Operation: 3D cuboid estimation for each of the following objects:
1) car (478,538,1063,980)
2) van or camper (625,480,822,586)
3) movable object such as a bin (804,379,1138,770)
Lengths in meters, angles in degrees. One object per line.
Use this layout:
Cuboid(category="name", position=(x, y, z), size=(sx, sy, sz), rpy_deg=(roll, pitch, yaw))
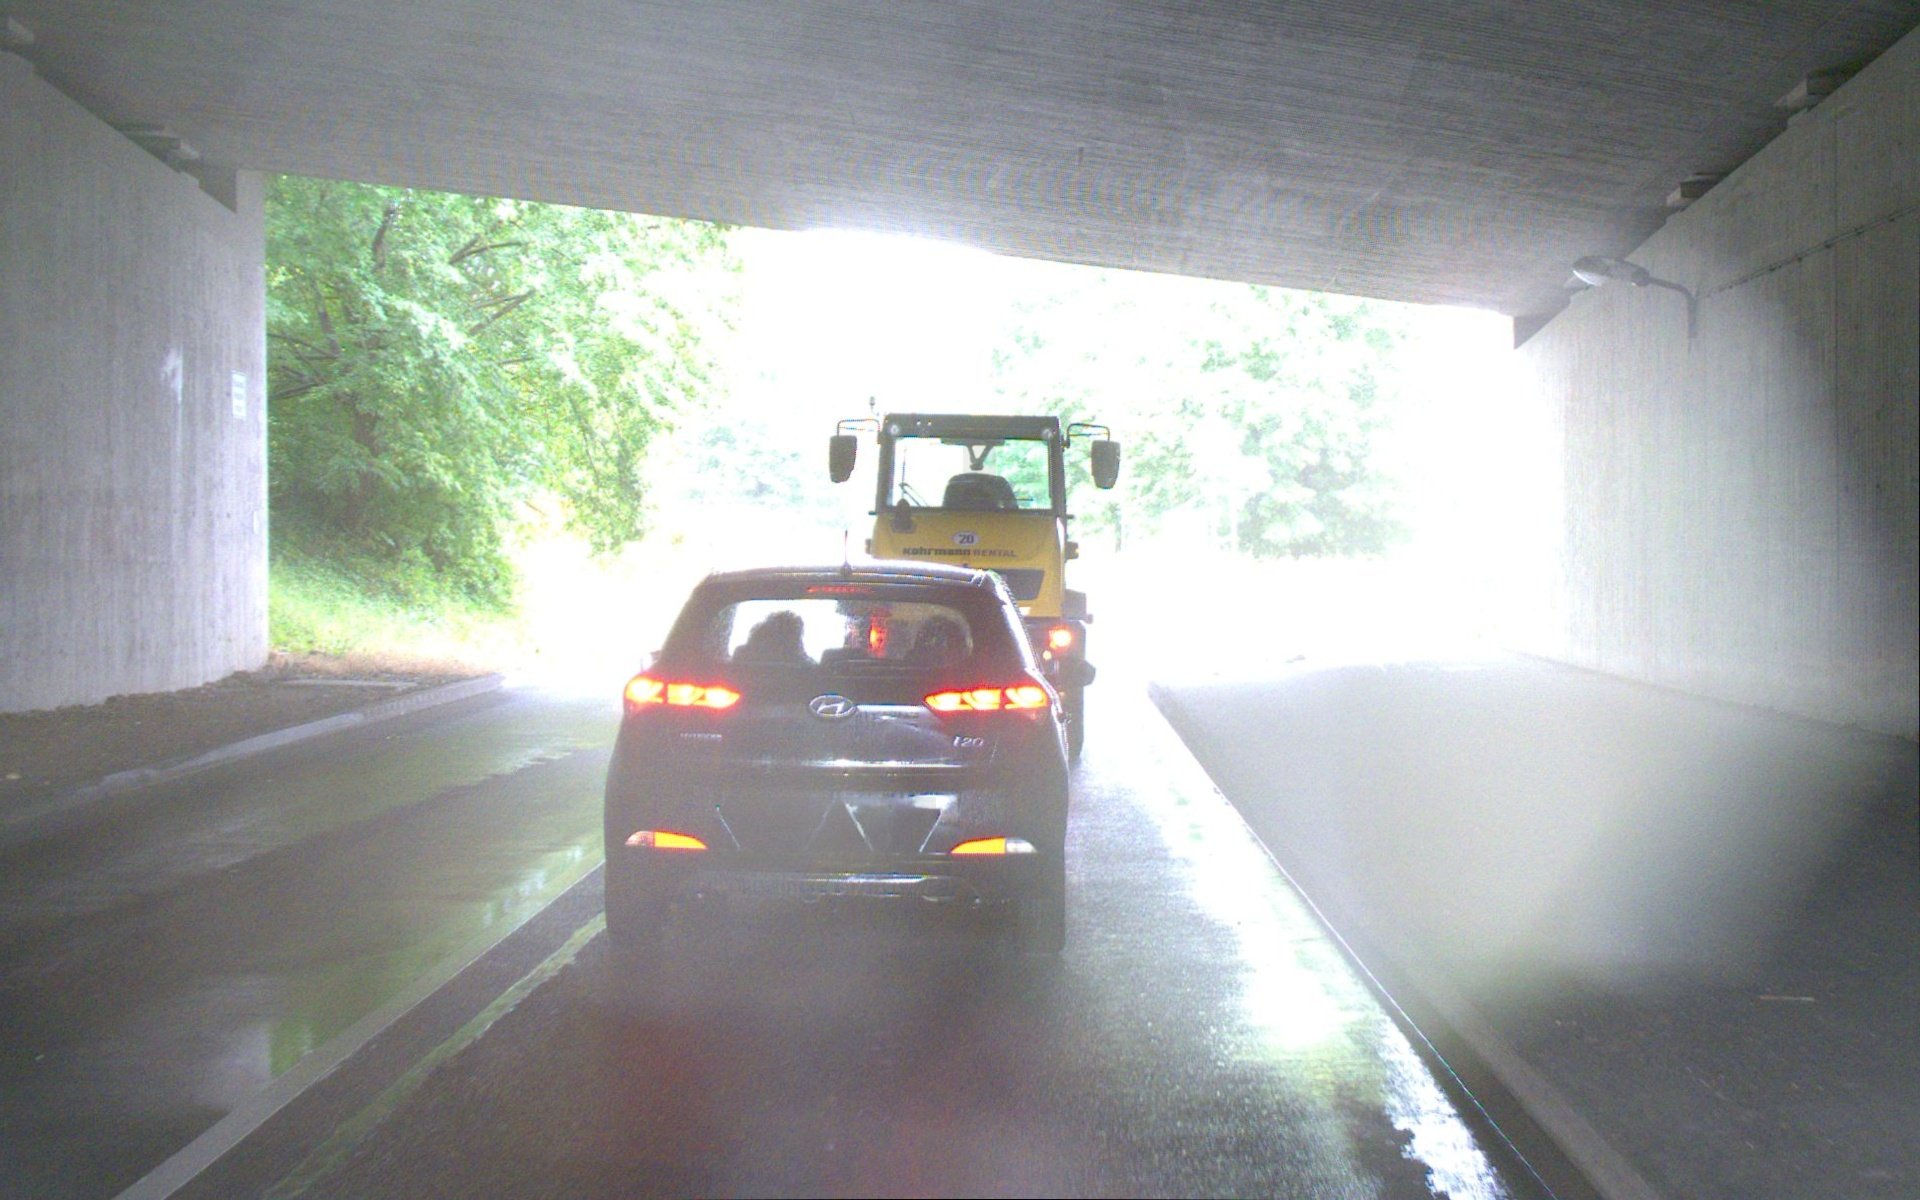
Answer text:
Cuboid(category="car", position=(-0.738, 0.523, 14.004), size=(1.993, 1.482, 4.001), rpy_deg=(2, 1, -2))
Cuboid(category="van or camper", position=(-5.004, -1.428, 72.119), size=(1.993, 2.091, 4.691), rpy_deg=(1, 1, -34))
Cuboid(category="movable object such as a bin", position=(0.076, -0.232, 27.321), size=(2.245, 2.660, 6.627), rpy_deg=(2, 1, 0))
